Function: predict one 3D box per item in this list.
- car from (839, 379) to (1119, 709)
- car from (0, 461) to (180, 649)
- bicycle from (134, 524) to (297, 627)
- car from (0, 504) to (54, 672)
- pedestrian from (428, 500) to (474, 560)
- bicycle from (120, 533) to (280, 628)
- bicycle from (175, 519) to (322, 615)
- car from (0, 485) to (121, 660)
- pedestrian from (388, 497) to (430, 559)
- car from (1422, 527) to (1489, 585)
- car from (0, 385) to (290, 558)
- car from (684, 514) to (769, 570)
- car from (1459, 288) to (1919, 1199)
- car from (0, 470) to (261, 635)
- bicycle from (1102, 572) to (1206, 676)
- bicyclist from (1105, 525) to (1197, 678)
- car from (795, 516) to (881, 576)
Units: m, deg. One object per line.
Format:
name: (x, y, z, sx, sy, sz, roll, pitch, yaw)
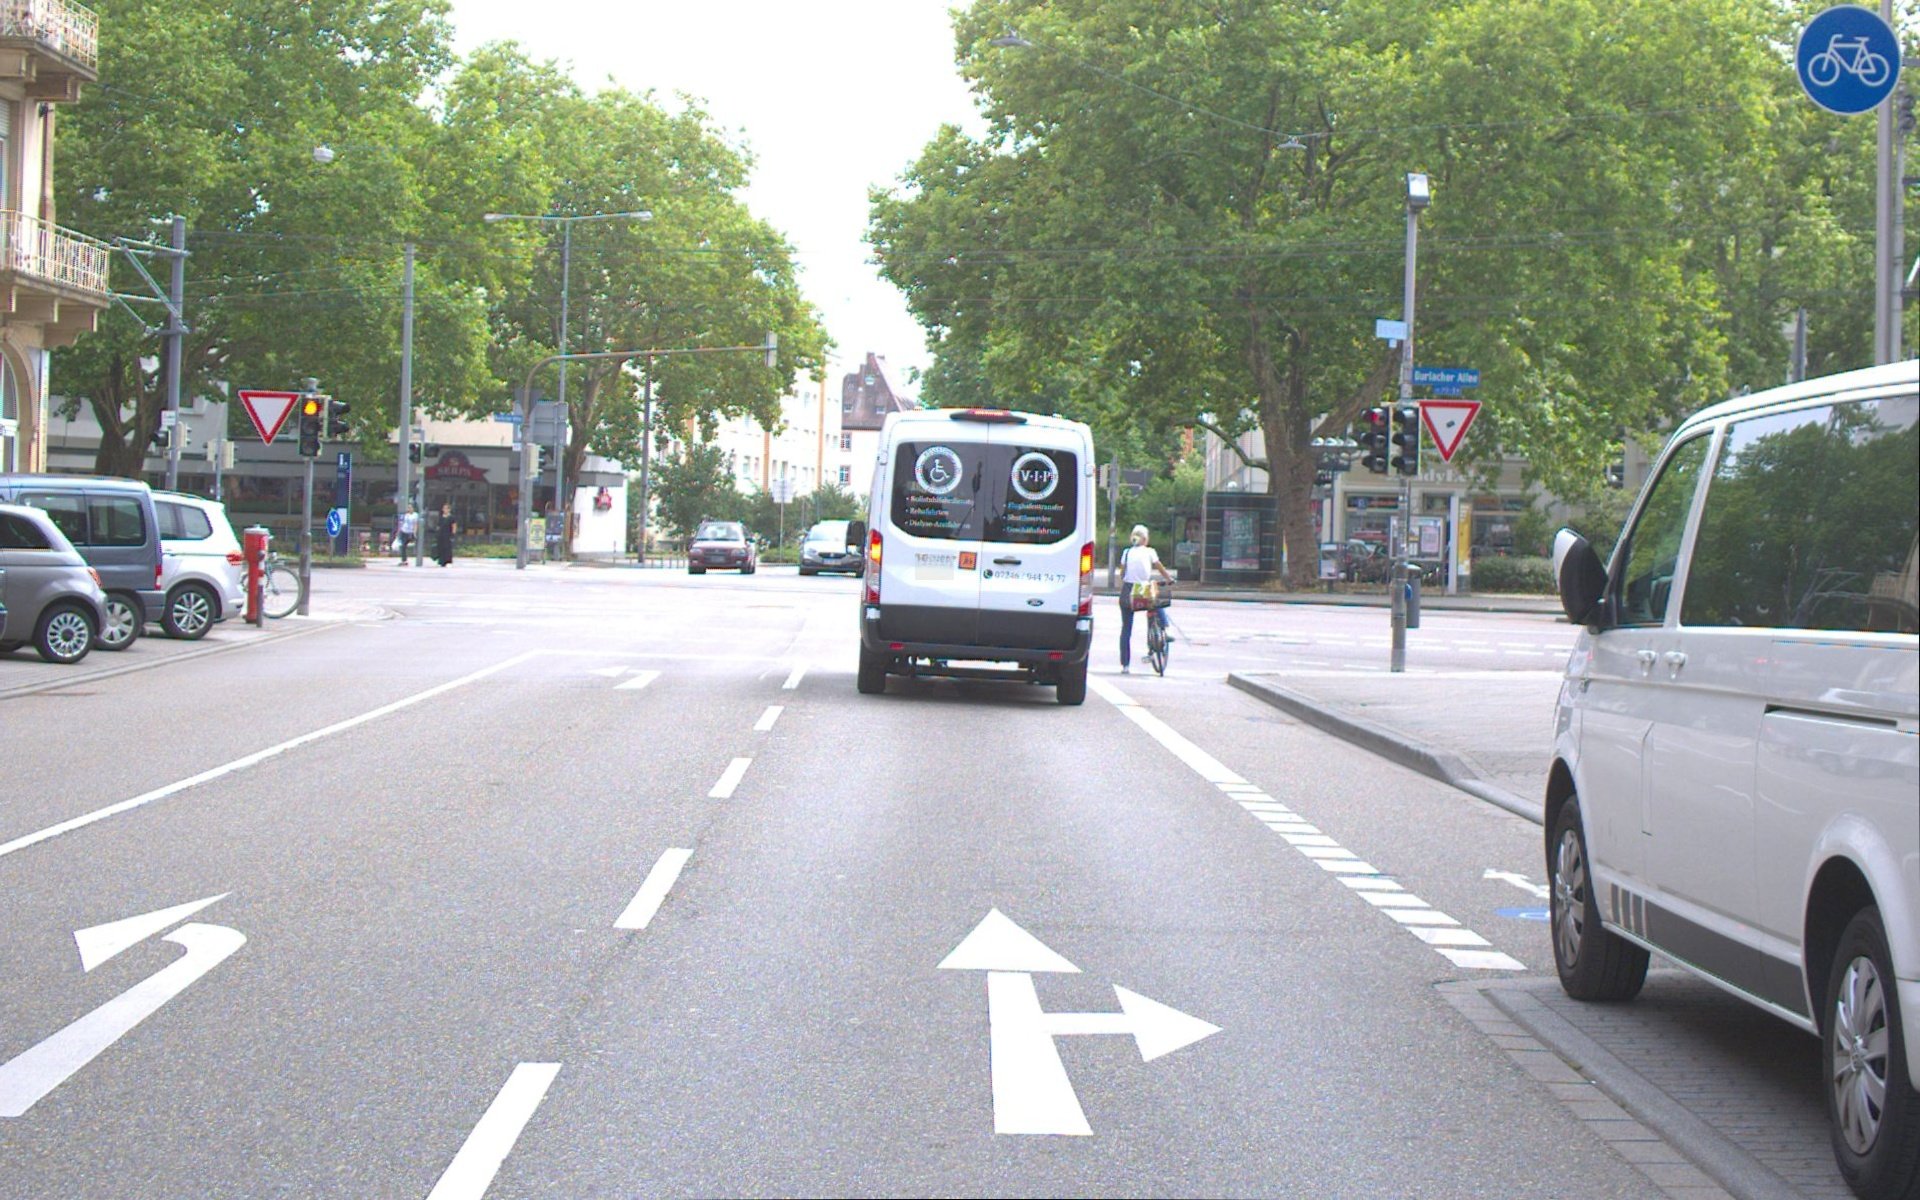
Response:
car: (0.081, -0.549, 31.341, 2.181, 2.638, 4.629, 4, 2, -2)
car: (-10.219, -0.483, 35.070, 4.000, 1.872, 1.796, 1, 2, -39)
bicycle: (-9.263, -0.311, 42.792, 1.809, 1.116, 0.594, 5, 1, 3)
car: (-10.004, -0.151, 29.481, 3.891, 1.438, 1.837, 1, 2, -36)
pedestrian: (-13.130, -1.800, 88.678, 0.930, 1.509, 0.723, 2, 1, 14)
bicycle: (-9.307, -0.245, 42.121, 1.810, 1.116, 0.594, 2, 1, 6)
bicycle: (-9.508, -0.447, 45.954, 1.877, 1.163, 0.497, 4, 1, 20)
car: (-10.191, -0.297, 32.456, 4.000, 1.646, 1.796, 1, 2, -39)
pedestrian: (-14.190, -1.848, 88.551, 0.807, 1.567, 0.723, 2, 1, 14)
car: (17.325, -1.546, 120.302, 1.994, 1.924, 4.000, 2, 1, 4)
car: (-21.264, -3.118, 82.587, 9.898, 3.902, 3.451, 2, 1, 24)
car: (-6.480, -1.635, 95.682, 1.621, 1.471, 3.999, 2, 2, 7)
car: (2.826, 0.308, 9.299, 2.014, 2.022, 5.124, 0, 2, -2)
car: (-10.035, -0.536, 38.266, 4.000, 1.767, 1.796, 1, 2, -39)
bicycle: (2.157, 0.250, 38.439, 0.902, 1.071, 1.970, 2, 1, -3)
bicyclist: (2.138, 0.007, 38.571, 0.903, 1.677, 0.757, 2, 1, -4)
car: (-3.330, -1.500, 94.693, 1.733, 1.586, 3.999, 2, 2, 7)
